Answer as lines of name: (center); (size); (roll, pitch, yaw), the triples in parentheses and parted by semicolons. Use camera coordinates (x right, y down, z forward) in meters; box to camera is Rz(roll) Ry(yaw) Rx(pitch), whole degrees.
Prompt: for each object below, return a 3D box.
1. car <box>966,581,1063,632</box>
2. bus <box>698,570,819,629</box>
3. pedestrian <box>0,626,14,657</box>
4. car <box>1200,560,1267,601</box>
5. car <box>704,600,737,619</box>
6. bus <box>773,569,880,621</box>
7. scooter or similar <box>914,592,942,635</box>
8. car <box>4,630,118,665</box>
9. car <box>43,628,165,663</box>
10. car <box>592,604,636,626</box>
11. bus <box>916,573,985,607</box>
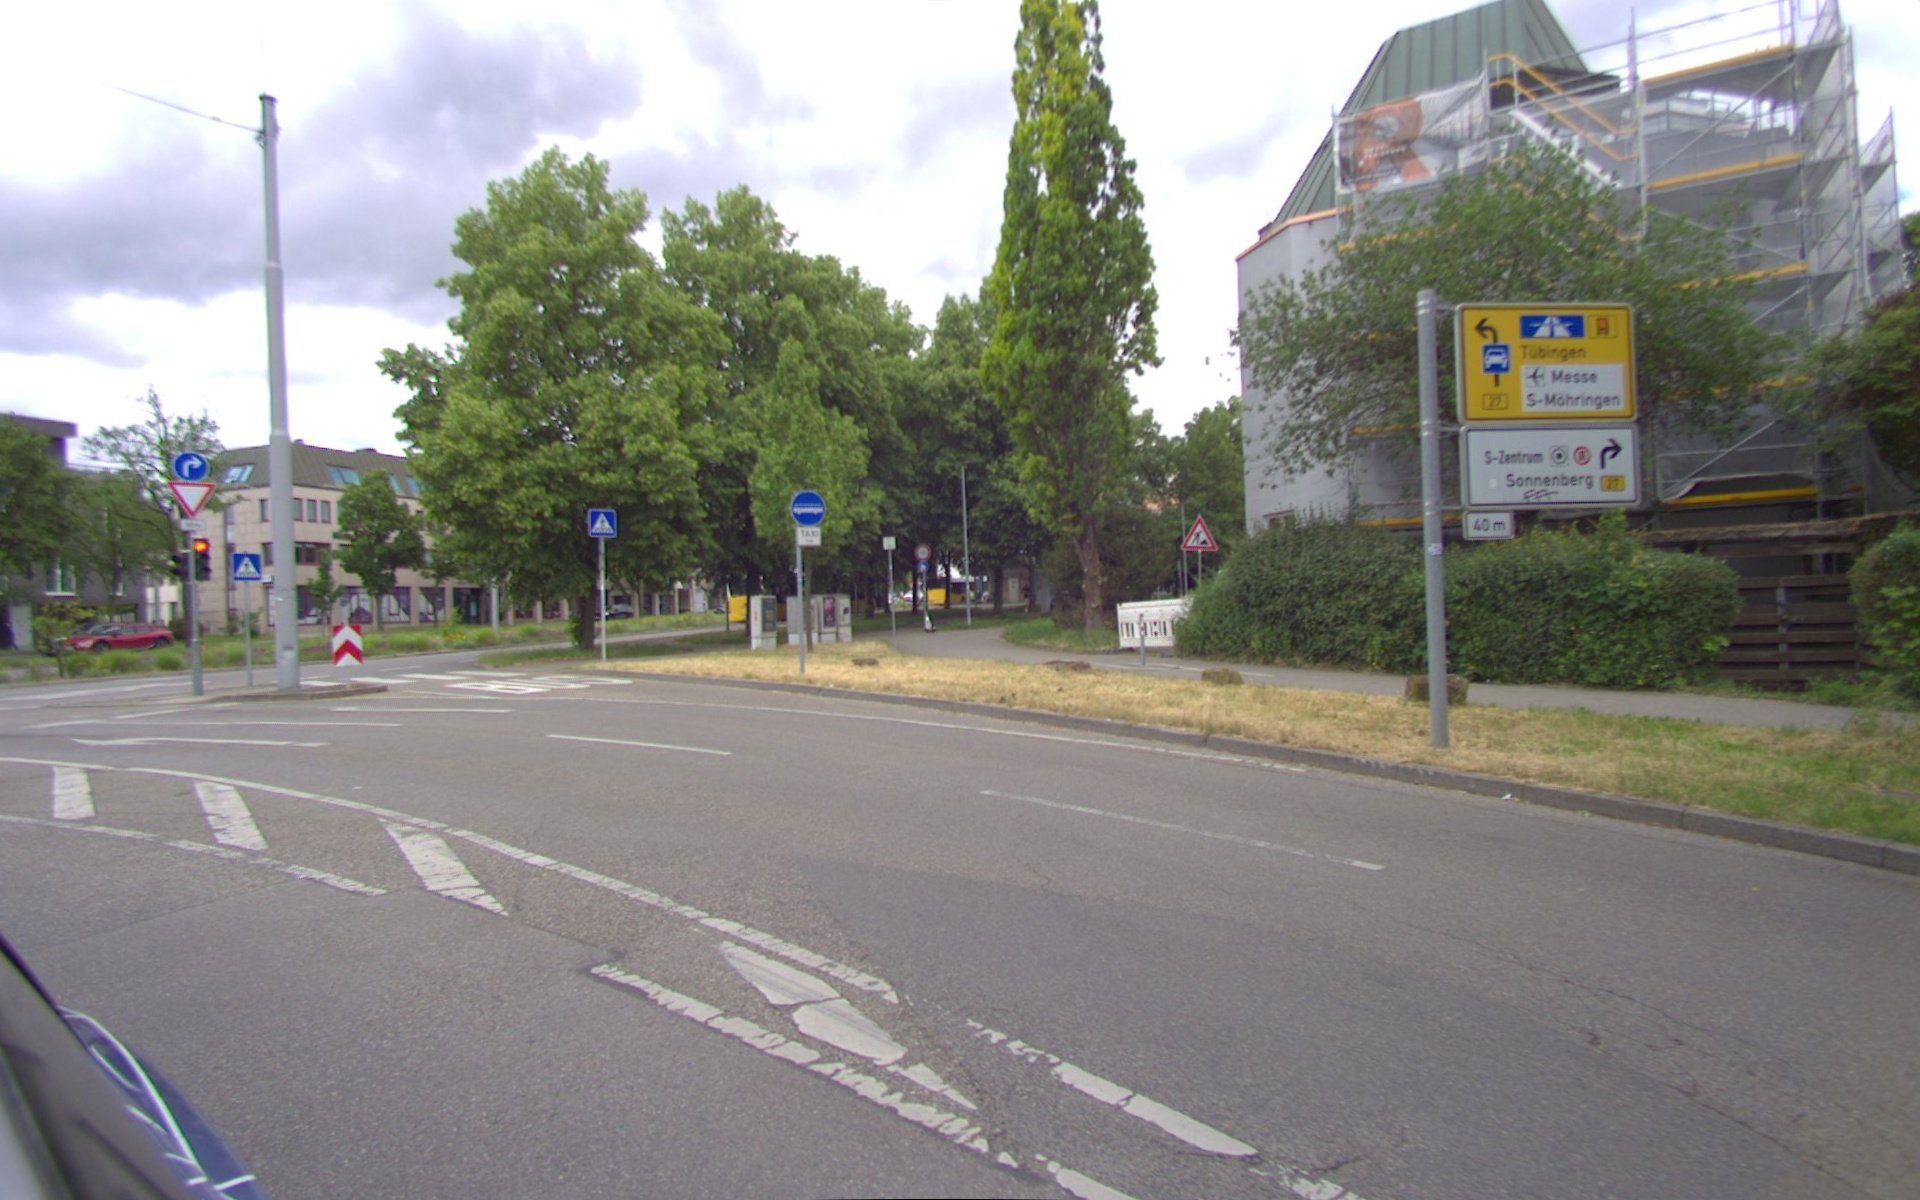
car: (2.002, 0.211, 35.932); (1.643, 1.682, 3.904); (-1, 1, 35)
bus: (-11.619, -0.141, 59.436); (3.029, 3.031, 8.379); (-3, 1, 19)
pedestrian: (-51.645, 2.256, 54.570); (0.687, 1.632, 0.595); (-3, 1, 16)
car: (16.355, -1.219, 60.342); (2.215, 2.132, 5.247); (-3, 1, 34)
car: (-27.105, 1.091, 114.557); (1.981, 1.829, 3.983); (-3, 1, 14)
bus: (-8.772, -0.464, 67.978); (3.029, 3.031, 9.638); (-3, 1, 19)
scooter or similar: (-1.147, 0.457, 35.920); (0.546, 1.456, 1.597); (-4, 1, -16)
car: (-44.121, 2.319, 49.754); (1.765, 1.497, 3.861); (-4, -2, 32)
car: (-41.782, 2.190, 49.521); (1.808, 1.497, 4.358); (-3, -2, 14)
car: (-32.596, 1.406, 95.419); (1.981, 1.829, 3.983); (-3, 1, 14)
bus: (-0.836, -1.073, 102.531); (3.273, 3.031, 10.160); (-3, 1, 21)
